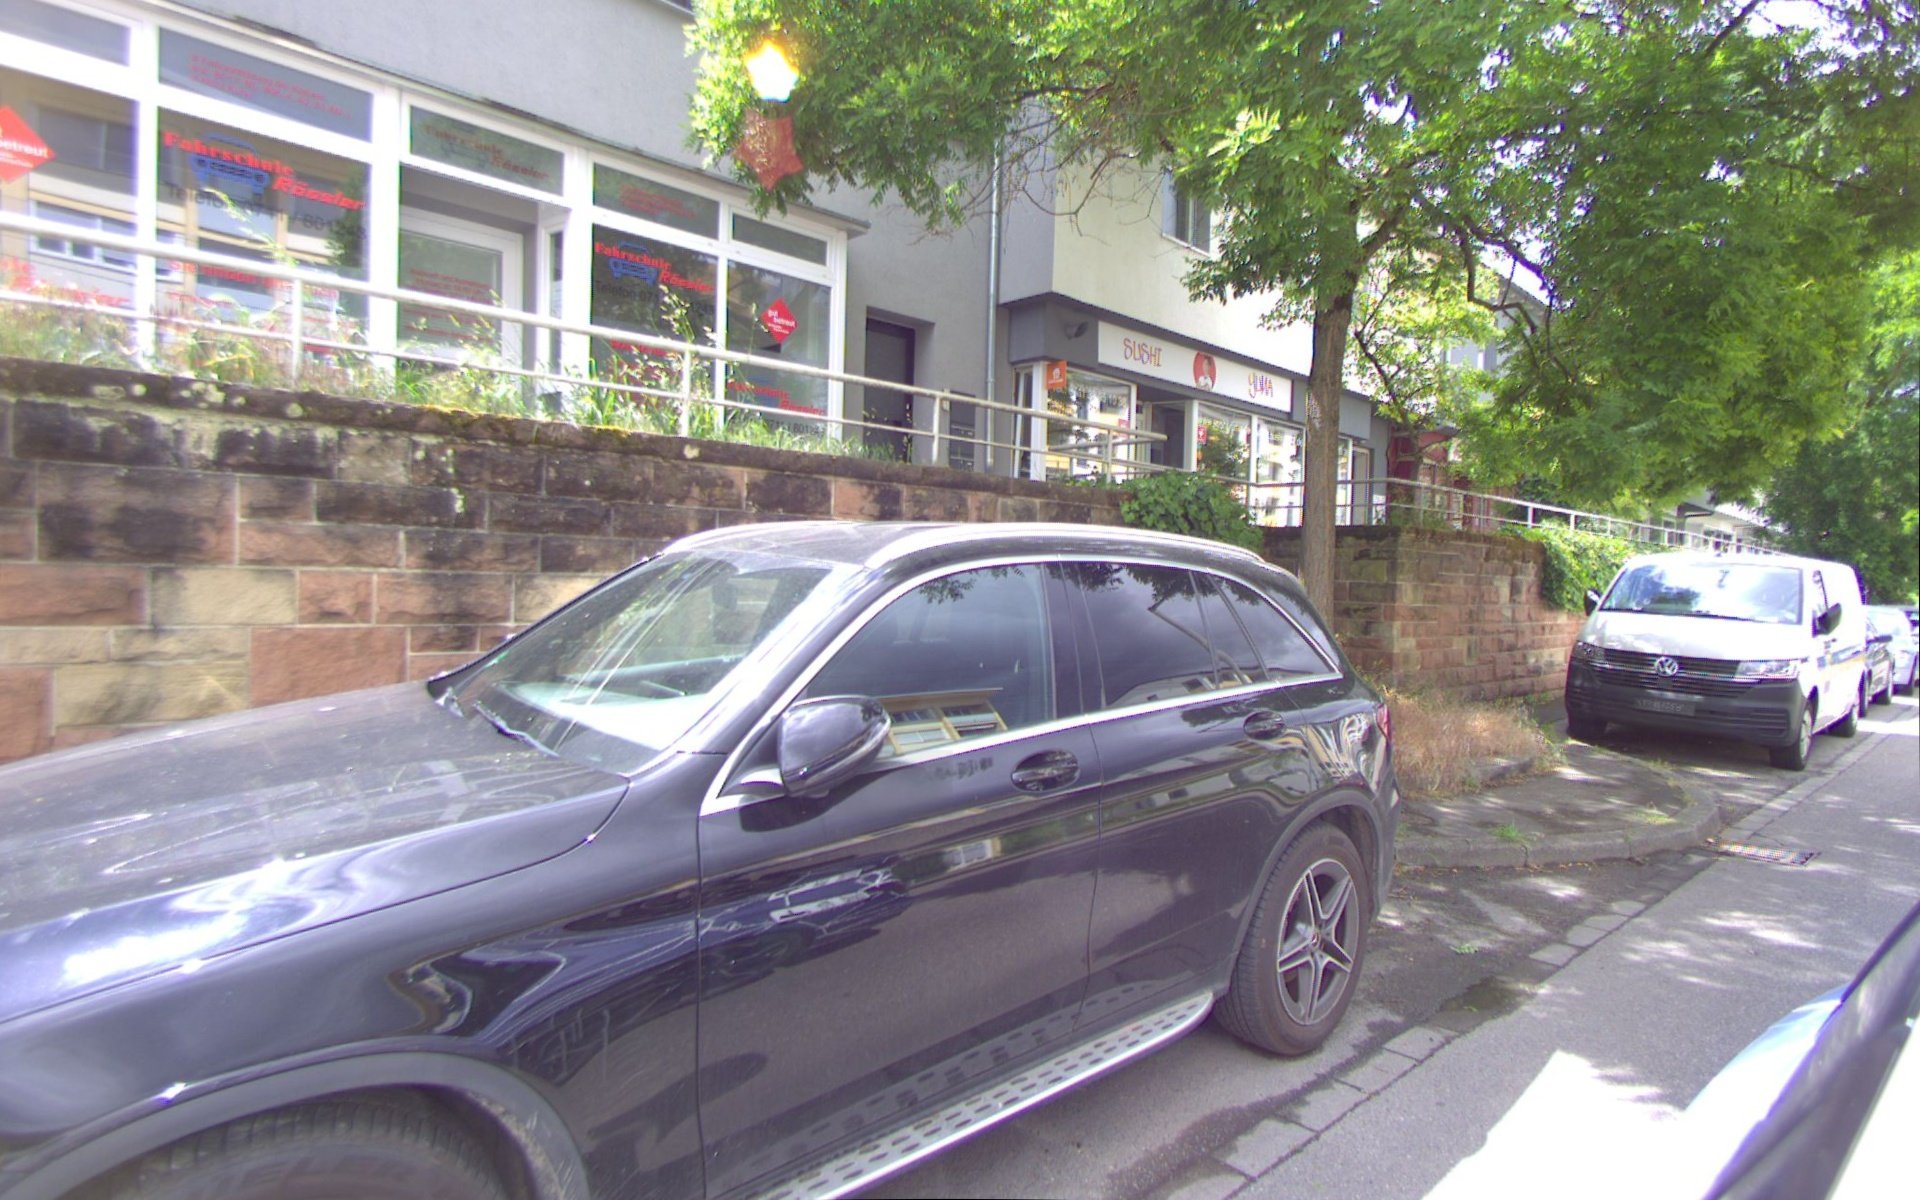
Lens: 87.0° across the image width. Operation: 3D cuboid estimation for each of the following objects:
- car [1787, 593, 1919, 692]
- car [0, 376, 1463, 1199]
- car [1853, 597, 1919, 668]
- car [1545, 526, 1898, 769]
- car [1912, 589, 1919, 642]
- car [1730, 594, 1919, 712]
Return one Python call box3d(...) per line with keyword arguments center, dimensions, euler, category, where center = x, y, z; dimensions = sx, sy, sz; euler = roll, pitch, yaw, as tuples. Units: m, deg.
box3d(center=(16.131, 0.663, 17.889), dimensions=(4.076, 1.445, 1.783), euler=(0, 4, -44), category="car")
box3d(center=(-0.432, 0.513, 2.898), dimensions=(4.371, 1.637, 1.793), euler=(0, 4, -42), category="car")
box3d(center=(21.287, 0.674, 22.375), dimensions=(4.075, 1.446, 1.783), euler=(0, 1, -41), category="car")
box3d(center=(8.186, 0.360, 10.676), dimensions=(4.925, 1.994, 1.977), euler=(0, 1, -41), category="car")
box3d(center=(32.333, 0.520, 32.860), dimensions=(4.078, 1.674, 1.816), euler=(0, 2, -44), category="car")
box3d(center=(12.571, 0.667, 14.626), dimensions=(3.669, 1.446, 1.577), euler=(0, 1, -41), category="car")
